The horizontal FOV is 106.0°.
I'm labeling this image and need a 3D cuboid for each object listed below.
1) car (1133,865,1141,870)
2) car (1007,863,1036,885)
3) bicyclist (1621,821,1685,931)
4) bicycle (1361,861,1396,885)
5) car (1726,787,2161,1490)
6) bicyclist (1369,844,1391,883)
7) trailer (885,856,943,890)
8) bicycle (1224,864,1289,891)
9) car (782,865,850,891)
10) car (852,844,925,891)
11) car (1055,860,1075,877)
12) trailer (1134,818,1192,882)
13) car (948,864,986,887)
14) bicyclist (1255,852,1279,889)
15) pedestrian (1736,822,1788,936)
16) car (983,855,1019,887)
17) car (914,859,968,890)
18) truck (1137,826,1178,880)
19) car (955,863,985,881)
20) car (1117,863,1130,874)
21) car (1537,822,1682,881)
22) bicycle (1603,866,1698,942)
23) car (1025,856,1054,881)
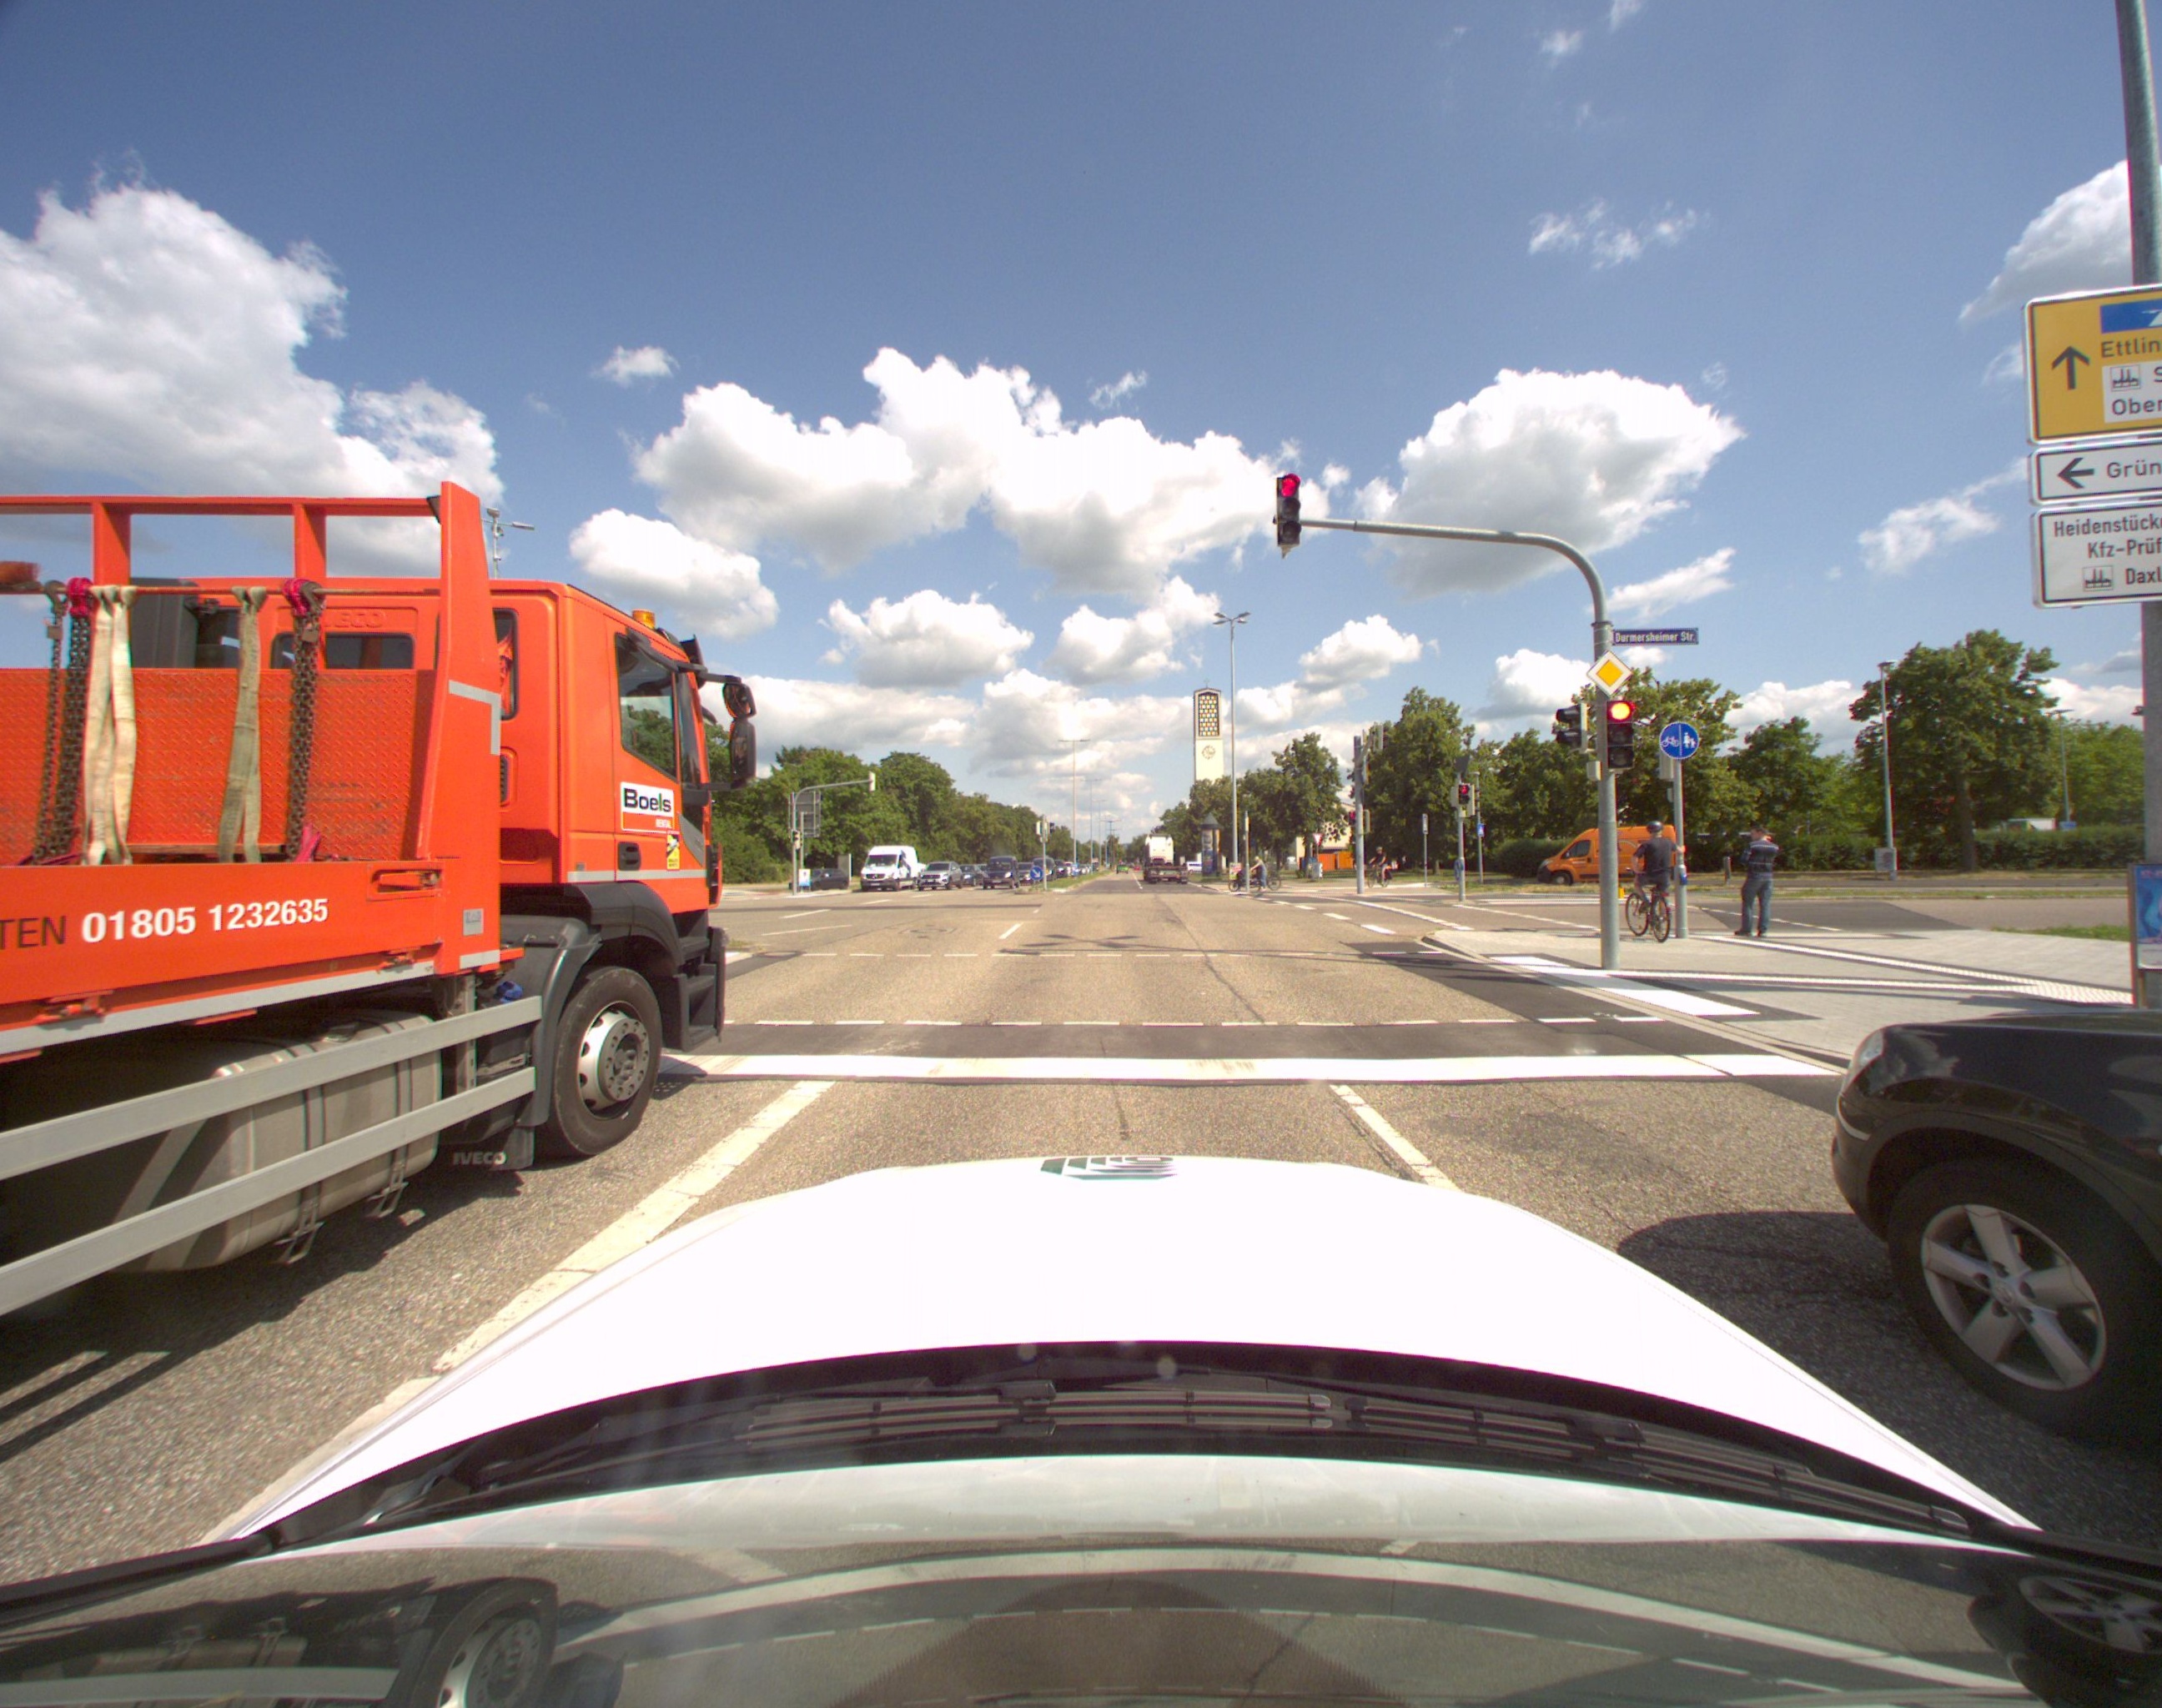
[{"bbox_3d":[15.442,3.735,224.630,1.986,1.552,4.001,1,-1,2],"label":"car"},{"bbox_3d":[-3.771,1.272,51.648,1.563,1.316,3.431,1,-1,0],"label":"car"},{"bbox_3d":[8.941,0.333,12.753,0.643,1.661,0.653,1,-1,16],"label":"bicyclist"},{"bbox_3d":[14.094,0.880,38.560,2.014,1.093,0.677,0,-1,-43],"label":"bicycle"},{"bbox_3d":[3.290,0.633,1.040,1.793,1.552,3.999,1,-1,0],"label":"car"},{"bbox_3d":[14.176,0.442,38.653,0.793,1.804,0.677,0,-1,-43],"label":"bicyclist"},{"bbox_3d":[-10.577,1.185,52.102,2.114,2.014,5.169,1,-1,6],"label":"trailer"},{"bbox_3d":[7.774,1.036,36.045,2.844,1.112,0.791,0,0,-22],"label":"bicycle"},{"bbox_3d":[-16.352,1.473,50.503,1.978,1.530,4.018,1,-1,18],"label":"car"},{"bbox_3d":[-10.870,0.763,46.529,2.163,2.471,5.977,1,-1,6],"label":"car"},{"bbox_3d":[-1.602,1.513,83.991,1.727,1.660,4.234,1,-1,3],"label":"car"},{"bbox_3d":[5.753,-0.152,56.785,3.602,4.012,11.337,0,-1,6],"label":"trailer"},{"bbox_3d":[-7.092,1.323,50.857,1.757,1.352,3.520,0,-1,2],"label":"car"},{"bbox_3d":[8.290,0.743,36.254,0.701,1.616,0.791,0,0,-22],"label":"bicyclist"},{"bbox_3d":[10.852,0.390,12.988,0.461,1.779,0.483,1,-1,11],"label":"pedestrian"},{"bbox_3d":[-4.332,0.913,44.481,1.730,1.660,4.226,1,-1,-3],"label":"car"},{"bbox_3d":[-7.628,1.107,44.789,1.726,1.543,4.316,1,-1,6],"label":"car"},{"bbox_3d":[6.134,0.014,64.680,2.944,3.971,8.652,0,-1,6],"label":"truck"},{"bbox_3d":[-8.706,1.428,64.085,1.757,1.352,3.520,0,-1,2],"label":"car"},{"bbox_3d":[6.580,2.232,126.079,1.986,1.552,4.001,1,-1,2],"label":"car"},{"bbox_3d":[21.514,-0.091,33.209,4.797,2.226,2.225,1,-1,38],"label":"car"},{"bbox_3d":[8.986,0.748,12.934,0.643,1.108,1.936,1,-1,16],"label":"bicycle"},{"bbox_3d":[-2.976,1.031,59.240,1.728,1.660,4.233,1,0,2],"label":"car"}]
